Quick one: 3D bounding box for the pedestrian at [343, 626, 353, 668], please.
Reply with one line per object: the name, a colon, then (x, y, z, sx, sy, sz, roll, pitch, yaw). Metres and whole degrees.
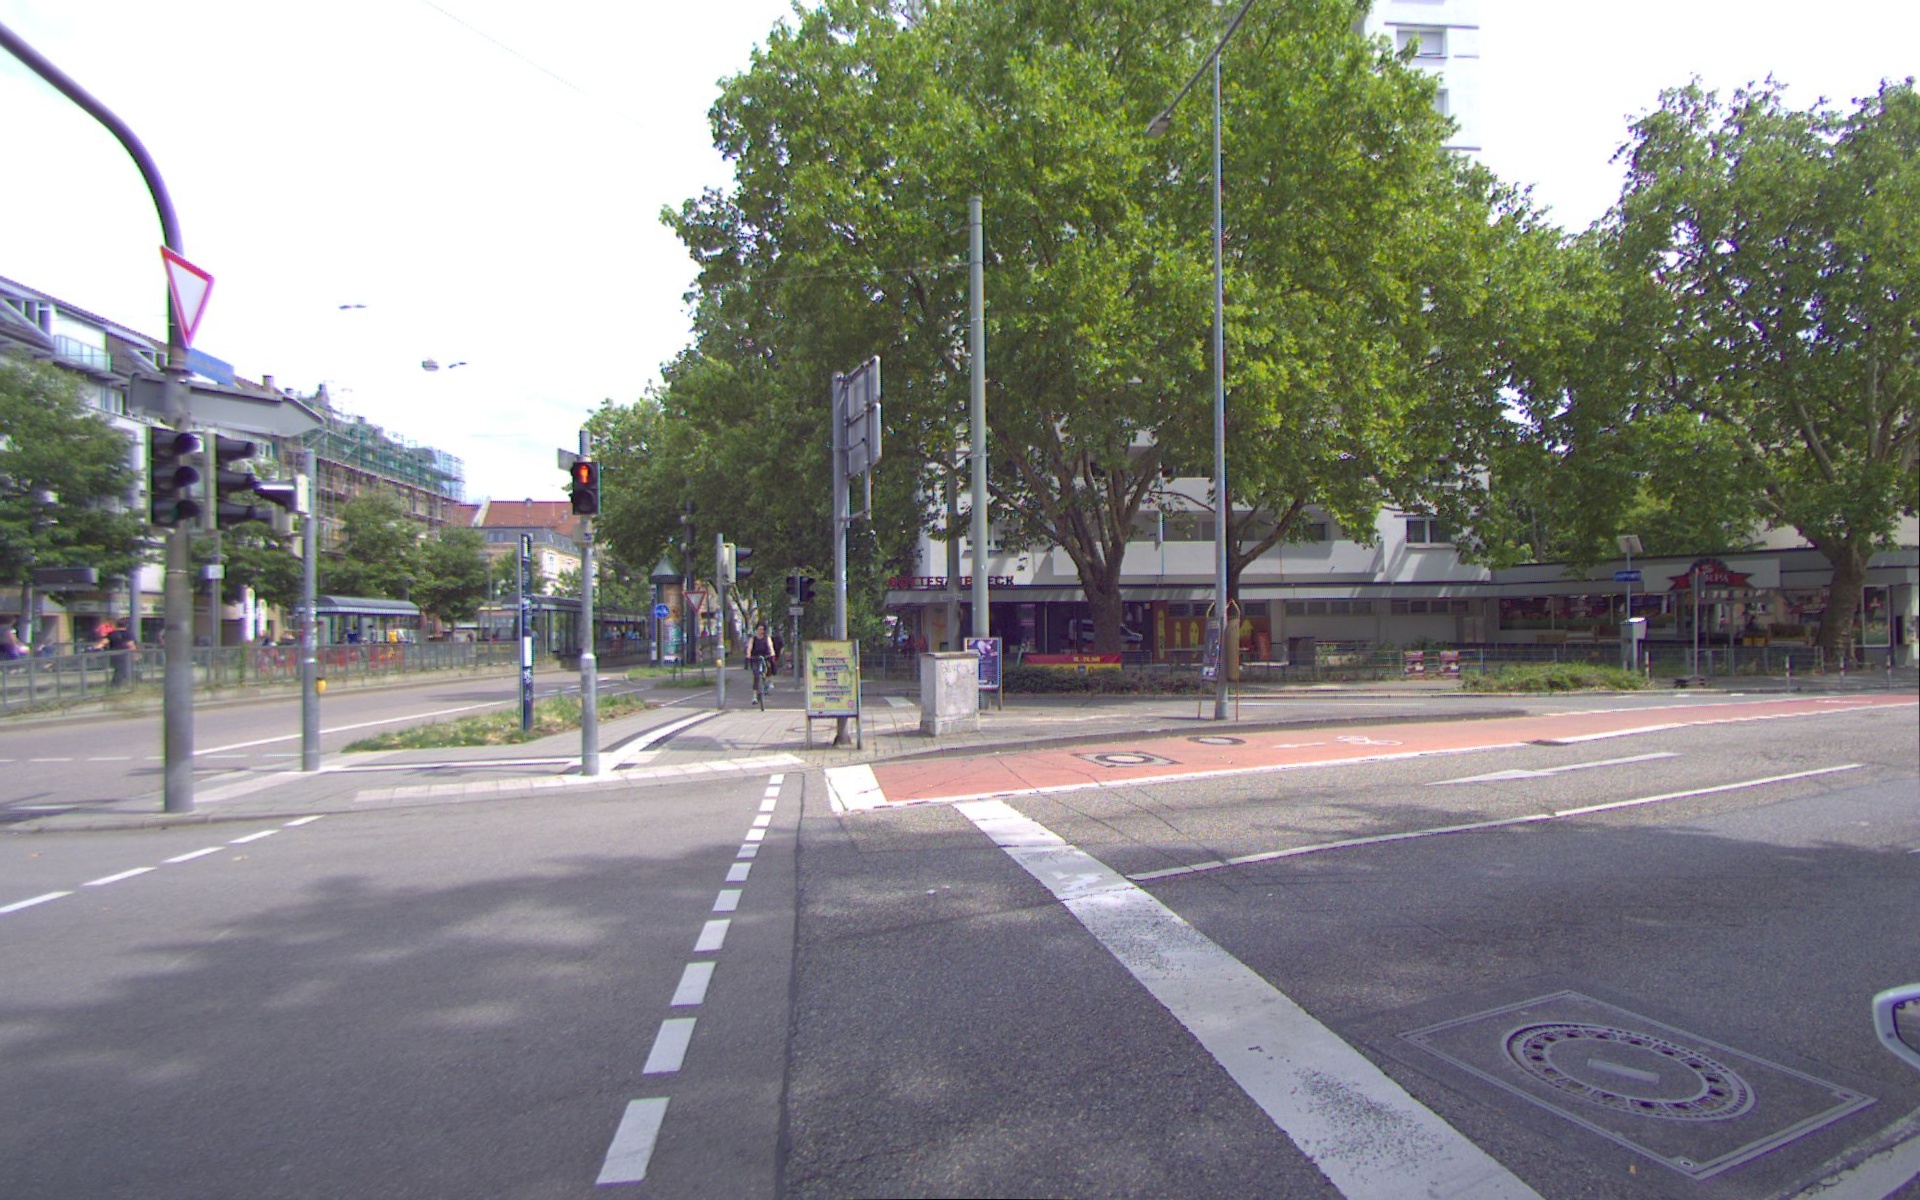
pedestrian: (-29.446, 2.261, 48.327, 0.320, 1.980, 0.311, -1, -1, -16)

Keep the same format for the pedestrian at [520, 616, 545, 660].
pedestrian: (-20.258, 1.787, 47.611, 0.837, 2.040, 0.872, -2, -1, -7)

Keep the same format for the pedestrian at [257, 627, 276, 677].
pedestrian: (-28.630, 2.145, 41.481, 0.492, 2.040, 0.369, -1, -1, -6)

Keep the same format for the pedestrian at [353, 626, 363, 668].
pedestrian: (-29.031, 2.269, 48.457, 0.320, 1.980, 0.311, -1, -1, -16)

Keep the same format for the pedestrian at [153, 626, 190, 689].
pedestrian: (-28.981, 2.098, 36.928, 0.746, 2.280, 0.757, -2, -1, -5)

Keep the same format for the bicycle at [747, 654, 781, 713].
bicycle: (-3.933, 1.659, 20.222, 0.616, 1.108, 1.968, -2, -3, -11)

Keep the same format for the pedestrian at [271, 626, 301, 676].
pedestrian: (-27.601, 2.077, 41.145, 0.746, 2.040, 0.757, -2, -1, -5)

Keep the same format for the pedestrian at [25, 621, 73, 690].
pedestrian: (-27.885, 1.691, 30.761, 0.746, 2.040, 0.757, -2, -1, -5)

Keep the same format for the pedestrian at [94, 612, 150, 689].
pedestrian: (-17.583, 1.056, 21.087, 0.657, 1.572, 0.598, -2, -1, -7)

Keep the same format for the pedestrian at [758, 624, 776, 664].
pedestrian: (-8.041, 1.826, 41.912, 0.683, 1.657, 0.684, -1, -1, -9)

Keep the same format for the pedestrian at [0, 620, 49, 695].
pedestrian: (-26.361, 1.603, 28.268, 0.746, 2.040, 0.757, -2, -1, -5)

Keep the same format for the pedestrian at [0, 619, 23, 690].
pedestrian: (-27.817, 1.580, 29.042, 0.746, 2.040, 0.757, -2, -1, -5)

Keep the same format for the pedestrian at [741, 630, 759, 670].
pedestrian: (-8.810, 2.099, 42.210, 0.683, 1.645, 0.505, -1, -1, -9)

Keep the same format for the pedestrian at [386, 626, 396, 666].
pedestrian: (-28.366, 2.291, 50.049, 0.320, 1.980, 0.311, -1, -1, -16)

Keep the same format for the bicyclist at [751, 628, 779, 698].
bicyclist: (-3.903, 1.246, 20.136, 0.483, 1.360, 0.751, -2, -2, -10)

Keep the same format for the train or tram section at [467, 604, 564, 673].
train or tram section: (-23.744, 2.124, 54.063, 2.322, 3.358, 7.514, -2, -3, -5)
